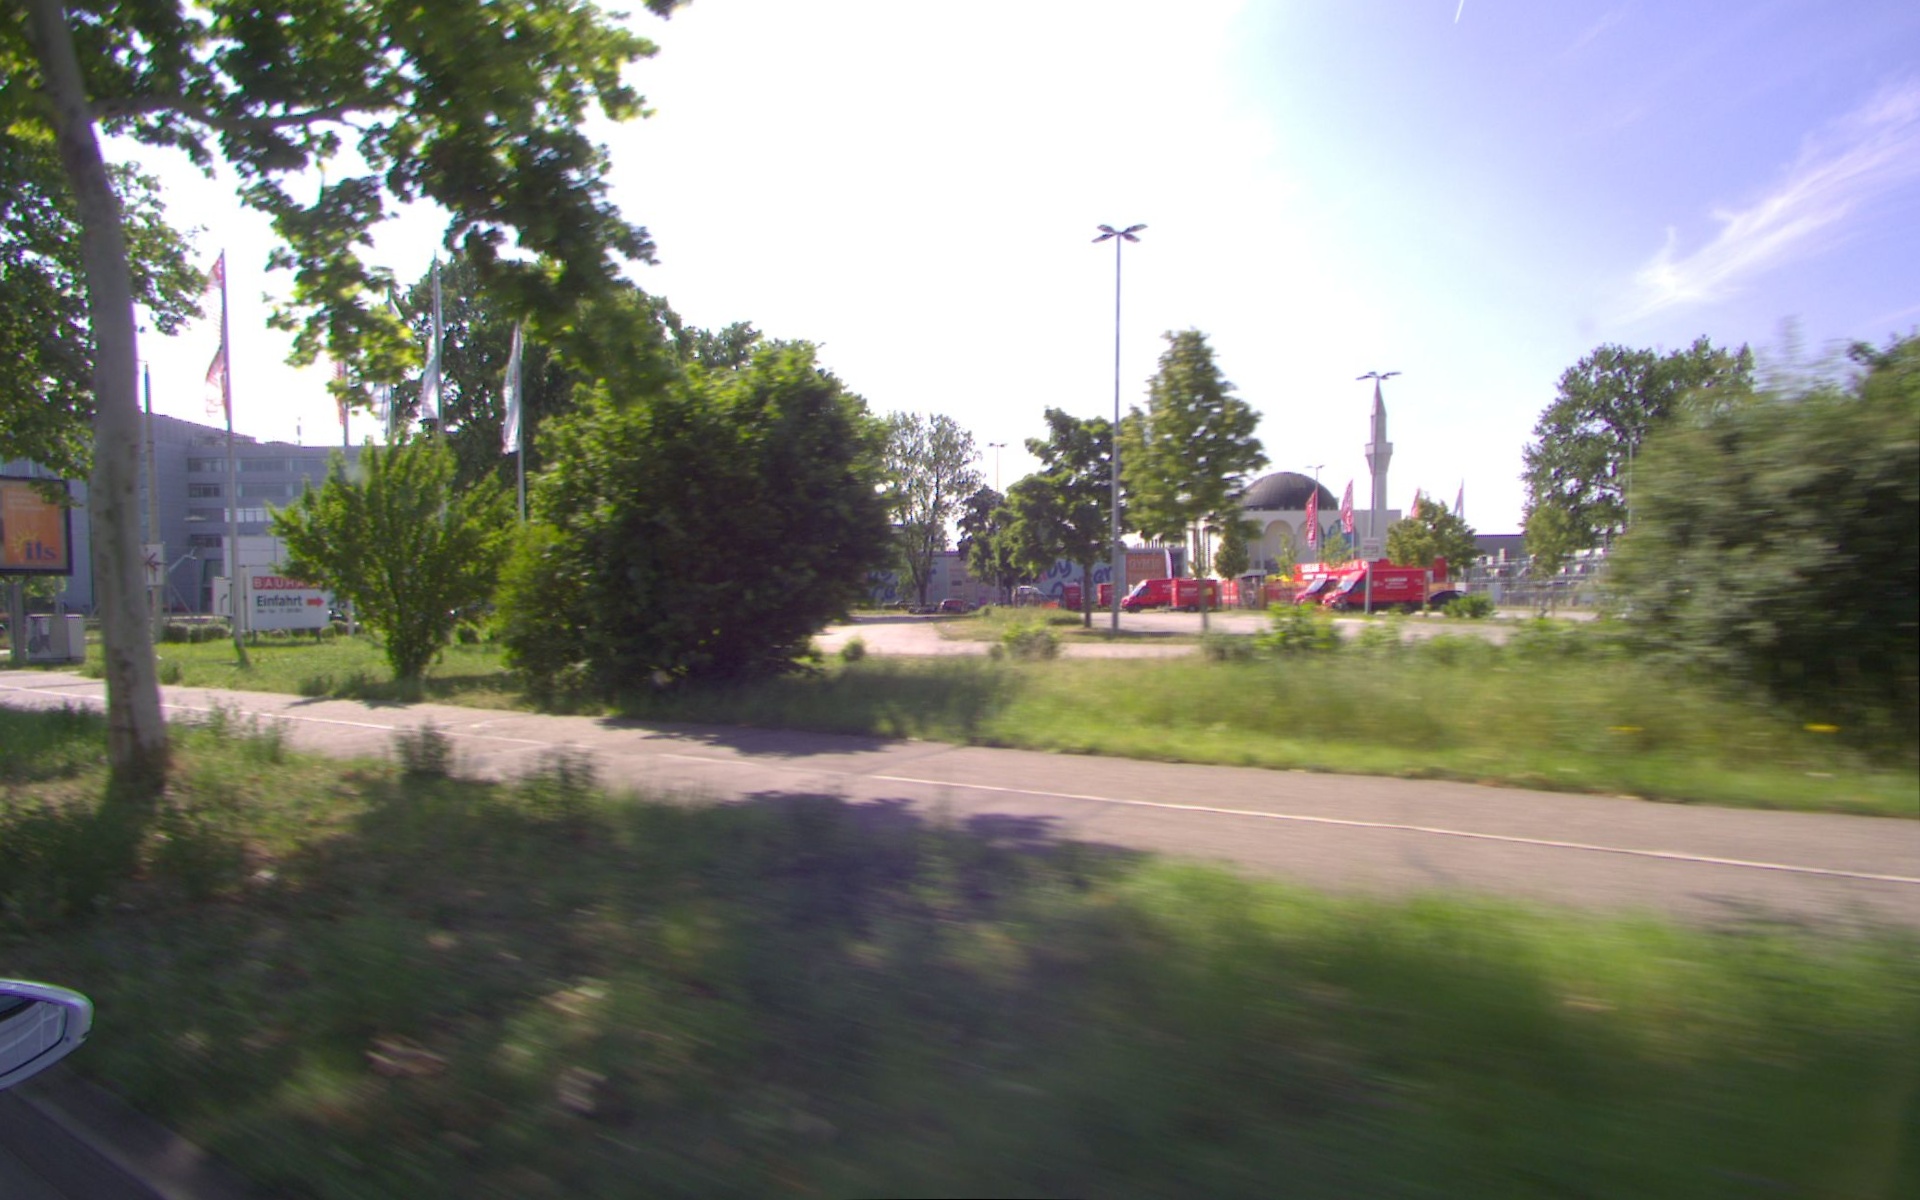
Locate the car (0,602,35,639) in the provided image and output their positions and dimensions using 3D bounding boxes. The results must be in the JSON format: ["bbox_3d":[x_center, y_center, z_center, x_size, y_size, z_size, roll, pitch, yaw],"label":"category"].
[{"bbox_3d":[-46.407,0.963,47.222,1.576,1.779,3.793,0,-2,23],"label":"car"}]

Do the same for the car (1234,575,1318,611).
[{"bbox_3d":[22.563,-0.470,71.657,5.418,2.467,2.000,-1,1,1],"label":"car"}]

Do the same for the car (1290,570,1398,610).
[{"bbox_3d":[23.787,-0.613,62.130,6.090,2.338,1.882,-1,1,-6],"label":"car"}]

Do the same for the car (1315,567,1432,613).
[{"bbox_3d":[24.075,-0.554,58.466,6.059,2.598,1.999,0,1,-4],"label":"car"}]

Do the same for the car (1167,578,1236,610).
[{"bbox_3d":[17.927,-0.464,74.564,4.713,2.279,1.999,-1,1,4],"label":"car"}]

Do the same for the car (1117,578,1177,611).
[{"bbox_3d":[14.970,-0.438,80.167,4.317,2.633,1.999,-1,1,-5],"label":"car"}]
